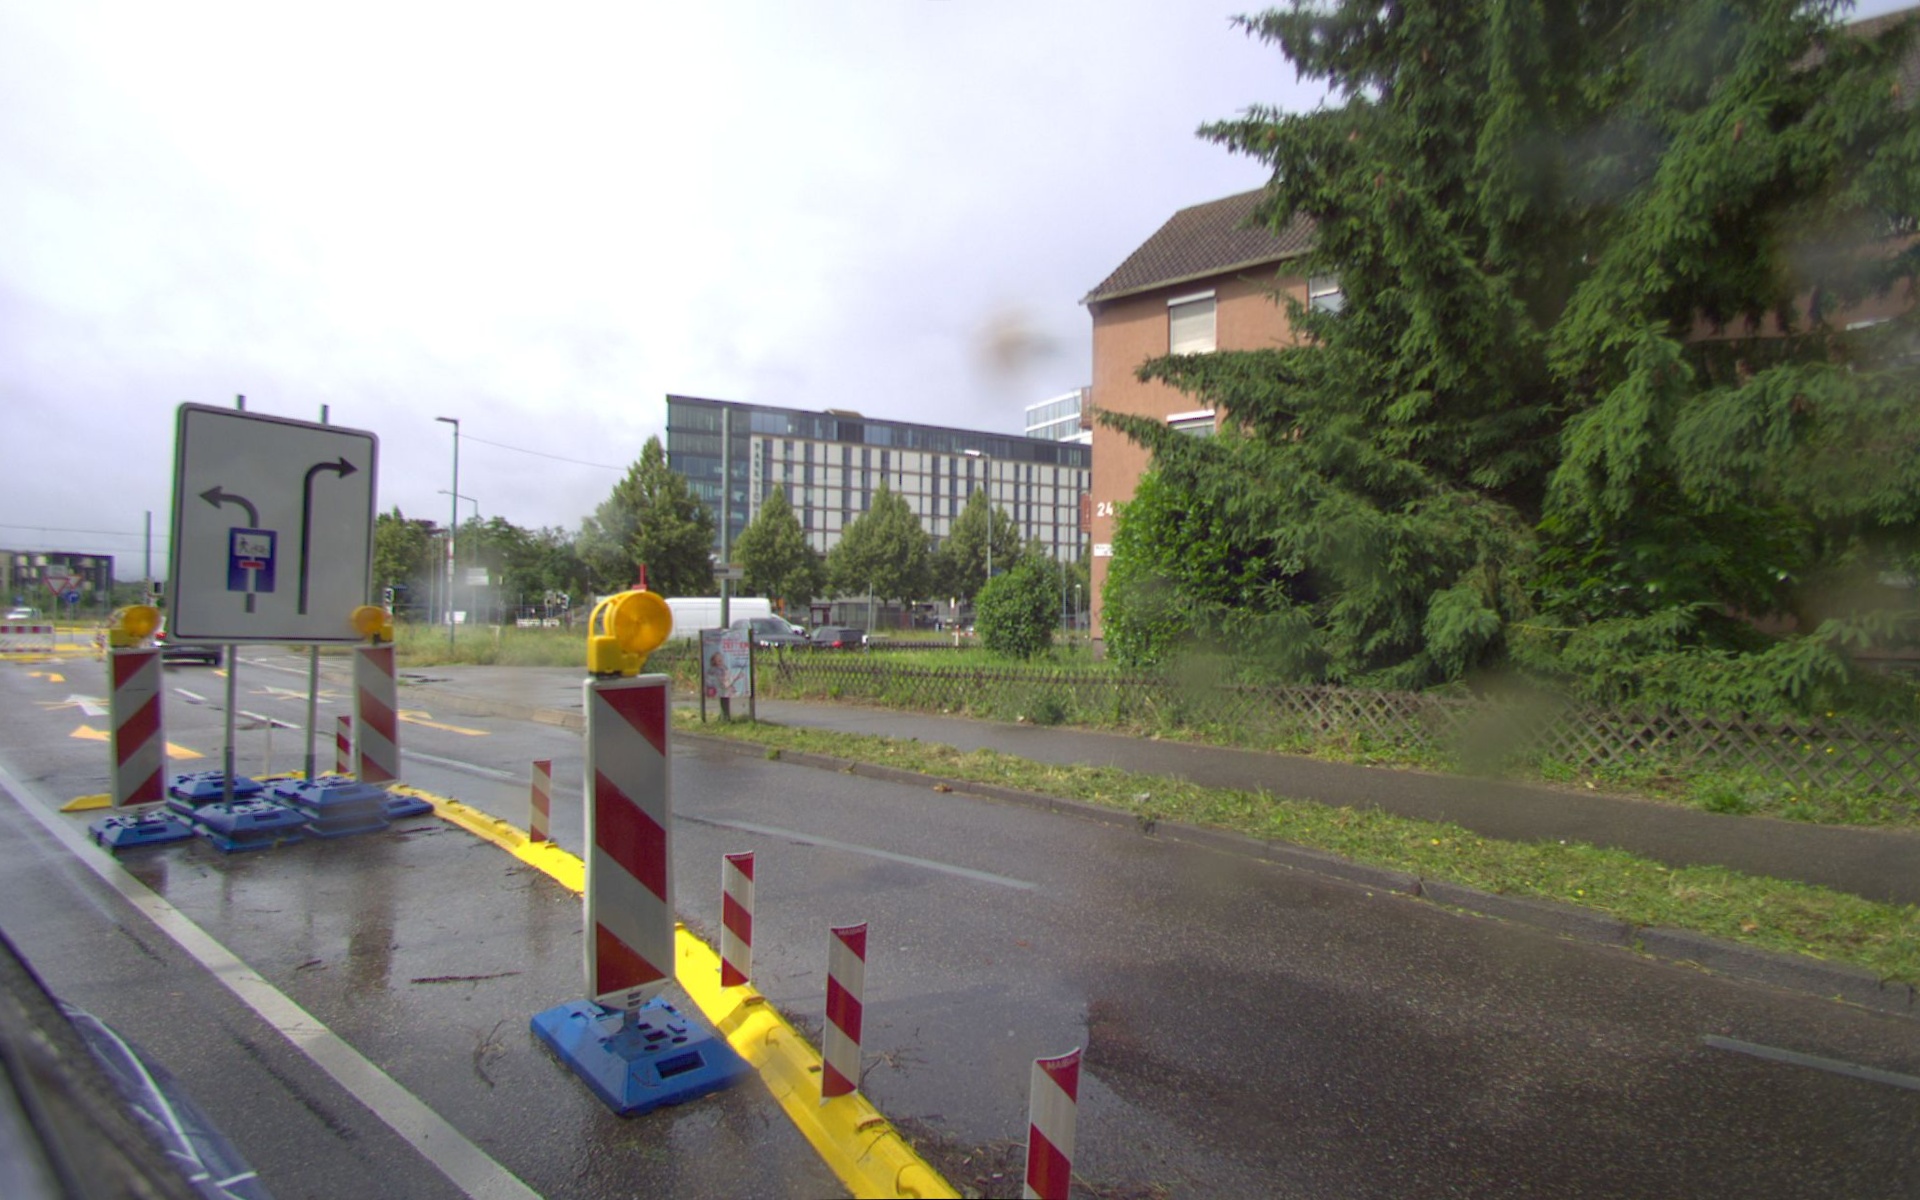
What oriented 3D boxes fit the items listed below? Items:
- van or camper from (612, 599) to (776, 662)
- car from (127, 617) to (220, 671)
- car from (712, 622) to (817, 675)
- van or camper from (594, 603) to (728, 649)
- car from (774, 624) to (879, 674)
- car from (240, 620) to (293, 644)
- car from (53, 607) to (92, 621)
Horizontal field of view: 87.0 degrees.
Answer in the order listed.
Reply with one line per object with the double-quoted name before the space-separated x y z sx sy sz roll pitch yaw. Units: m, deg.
"van or camper" -11.870 1.339 45.164 6.862 2.667 2.519 1 -1 -18
"car" -23.682 1.297 30.442 3.794 1.519 1.661 -1 -2 44
"car" -6.652 1.578 34.112 1.731 1.630 4.336 1 -1 -38
"van or camper" -15.002 1.318 50.808 6.289 2.205 2.448 1 -1 -18
"car" -4.769 1.684 35.712 1.731 1.630 4.267 1 -1 -38
"car" -42.294 1.931 61.814 1.713 1.425 4.193 0 -1 -21
"car" -97.541 1.551 111.241 1.642 1.541 3.488 0 -1 -10
